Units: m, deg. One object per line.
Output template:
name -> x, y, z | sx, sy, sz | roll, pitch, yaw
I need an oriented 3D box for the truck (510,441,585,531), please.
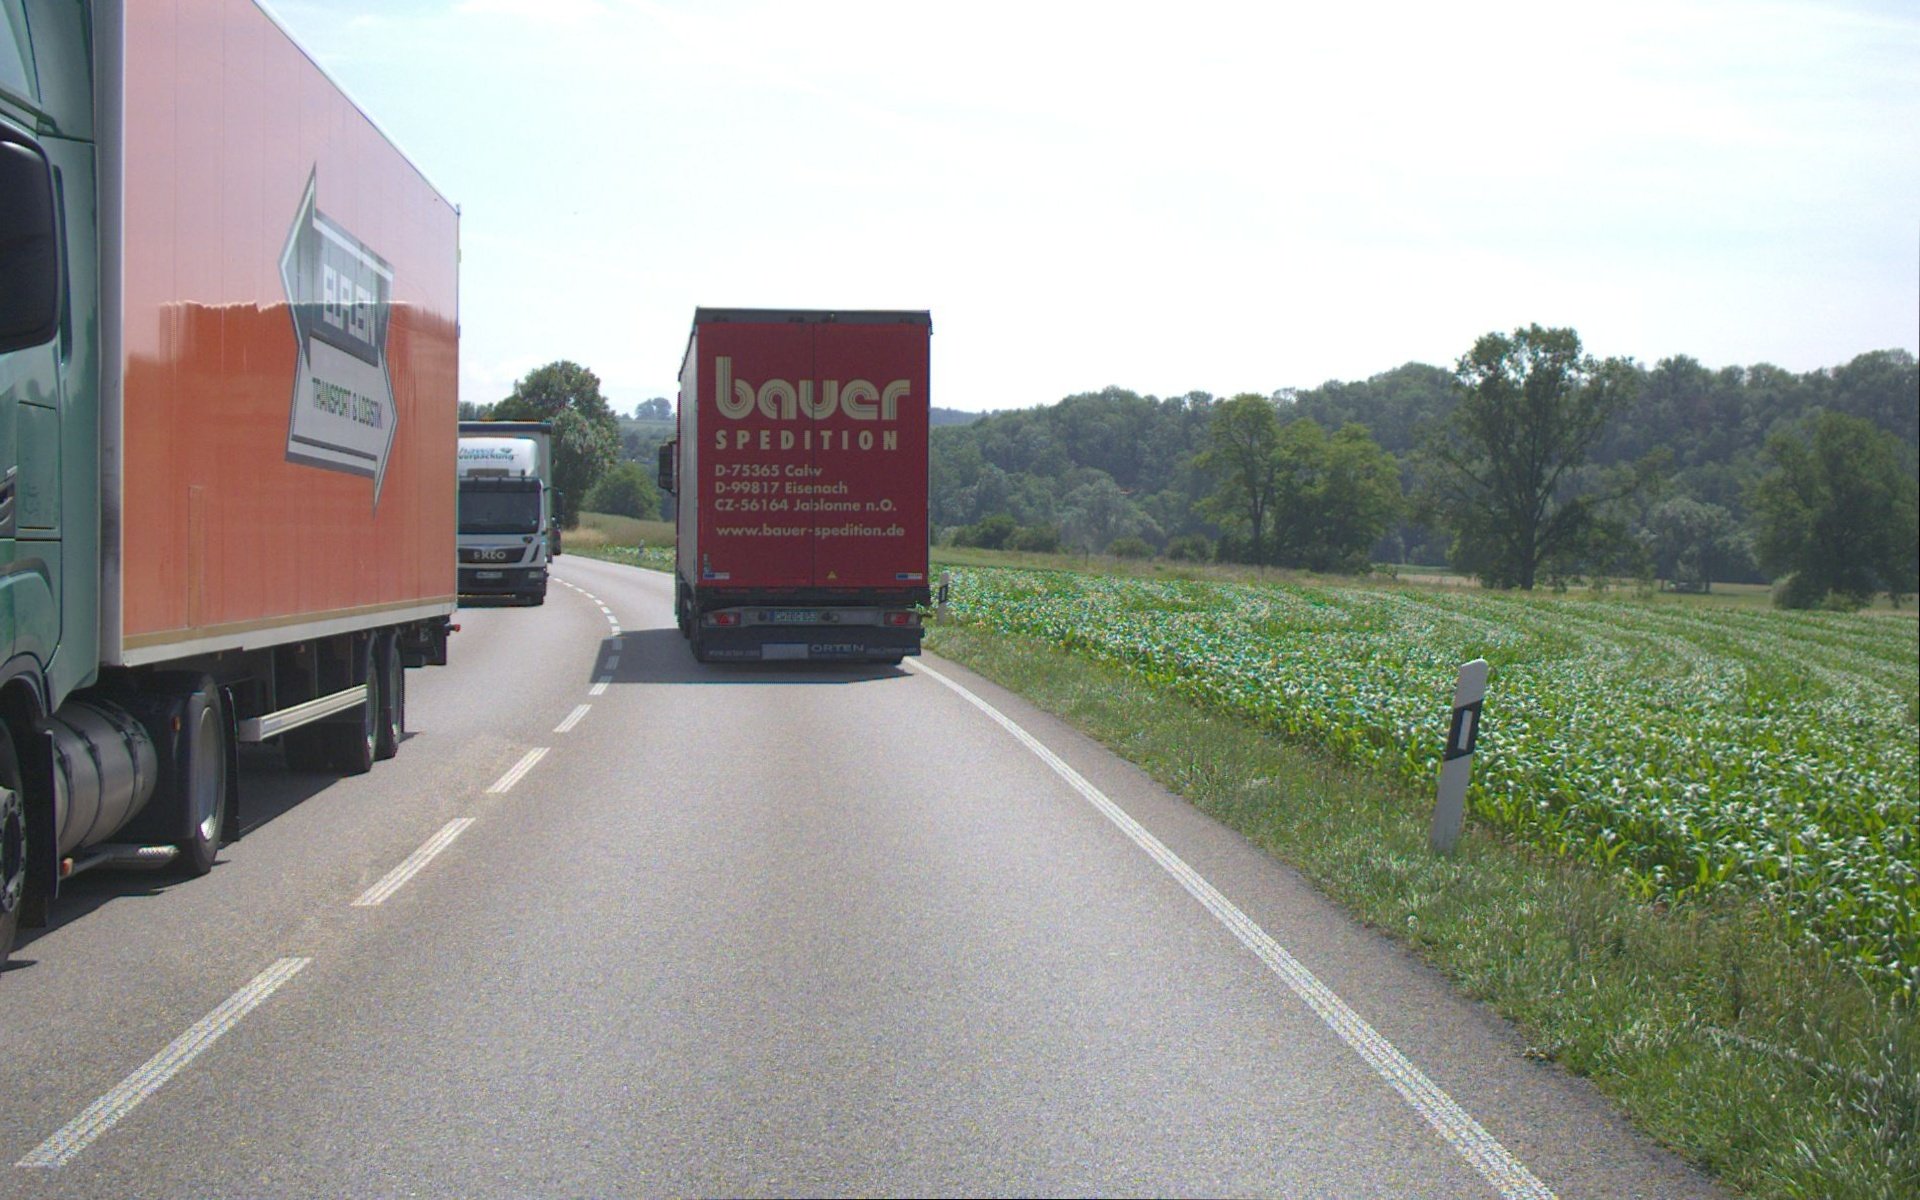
truck -> -21.150, -5.756, 175.701 | 3.639, 4.277, 11.988 | 0, 0, -7

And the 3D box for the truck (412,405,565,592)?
truck -> -9.640, -2.062, 71.092 | 2.740, 3.566, 9.729 | 1, 1, -6

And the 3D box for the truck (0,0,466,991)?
truck -> -4.774, -1.004, 18.505 | 2.770, 3.985, 17.030 | 1, 1, -3

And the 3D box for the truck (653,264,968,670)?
truck -> -1.949, -1.464, 40.736 | 3.094, 4.248, 8.316 | 1, 1, -6

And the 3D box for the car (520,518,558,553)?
car -> -18.501, -2.822, 150.950 | 1.581, 1.496, 3.877 | 1, 1, -8
